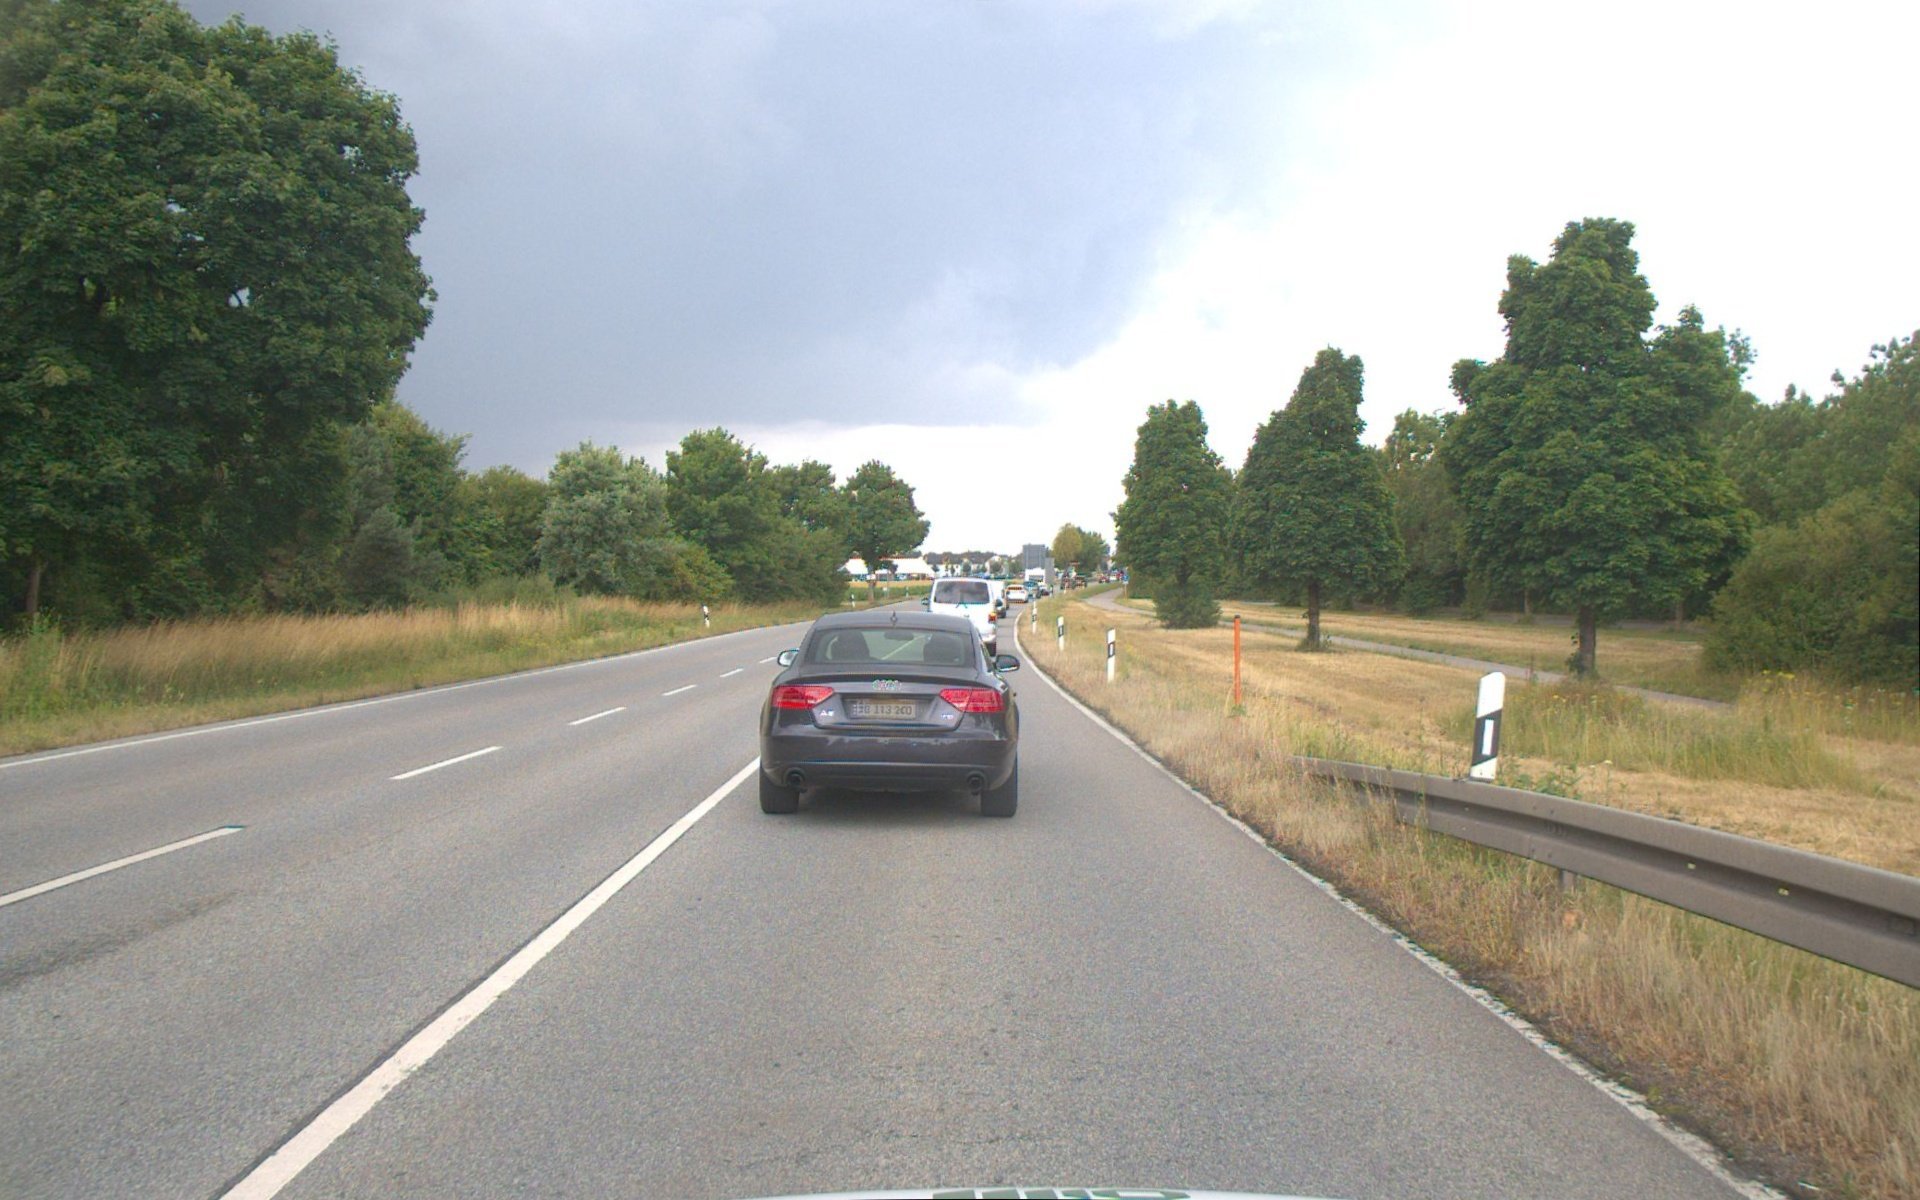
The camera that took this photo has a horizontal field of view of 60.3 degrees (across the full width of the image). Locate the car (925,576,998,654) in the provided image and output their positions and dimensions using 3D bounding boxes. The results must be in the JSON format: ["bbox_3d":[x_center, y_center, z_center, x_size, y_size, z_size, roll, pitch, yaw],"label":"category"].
[{"bbox_3d":[0.004,0.359,43.466,1.801,1.915,3.999,1,1,-1],"label":"car"}]

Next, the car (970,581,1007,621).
[{"bbox_3d":[1.574,0.058,89.535,1.952,2.125,4.001,0,0,2],"label":"car"}]

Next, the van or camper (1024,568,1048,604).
[{"bbox_3d":[7.688,-1.370,167.180,2.292,3.542,5.720,0,0,2],"label":"van or camper"}]

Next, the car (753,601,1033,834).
[{"bbox_3d":[-0.465,0.747,12.475,1.747,1.400,3.999,1,1,-1],"label":"car"}]

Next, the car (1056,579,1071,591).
[{"bbox_3d":[13.320,-1.874,212.663,1.684,1.477,4.000,1,0,0],"label":"car"}]

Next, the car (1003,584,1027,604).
[{"bbox_3d":[4.346,-0.448,130.225,1.699,1.541,3.749,0,0,5],"label":"car"}]

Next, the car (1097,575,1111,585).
[{"bbox_3d":[21.919,-3.021,252.419,1.784,1.519,4.000,1,0,0],"label":"car"}]

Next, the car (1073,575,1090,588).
[{"bbox_3d":[14.956,-2.296,204.297,1.784,1.624,4.000,1,0,0],"label":"car"}]

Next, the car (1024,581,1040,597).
[{"bbox_3d":[6.465,-0.966,148.451,1.231,1.377,3.468,0,0,5],"label":"car"}]

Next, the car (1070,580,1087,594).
[{"bbox_3d":[16.847,-1.816,235.255,1.953,2.049,3.999,0,0,-2],"label":"car"}]
